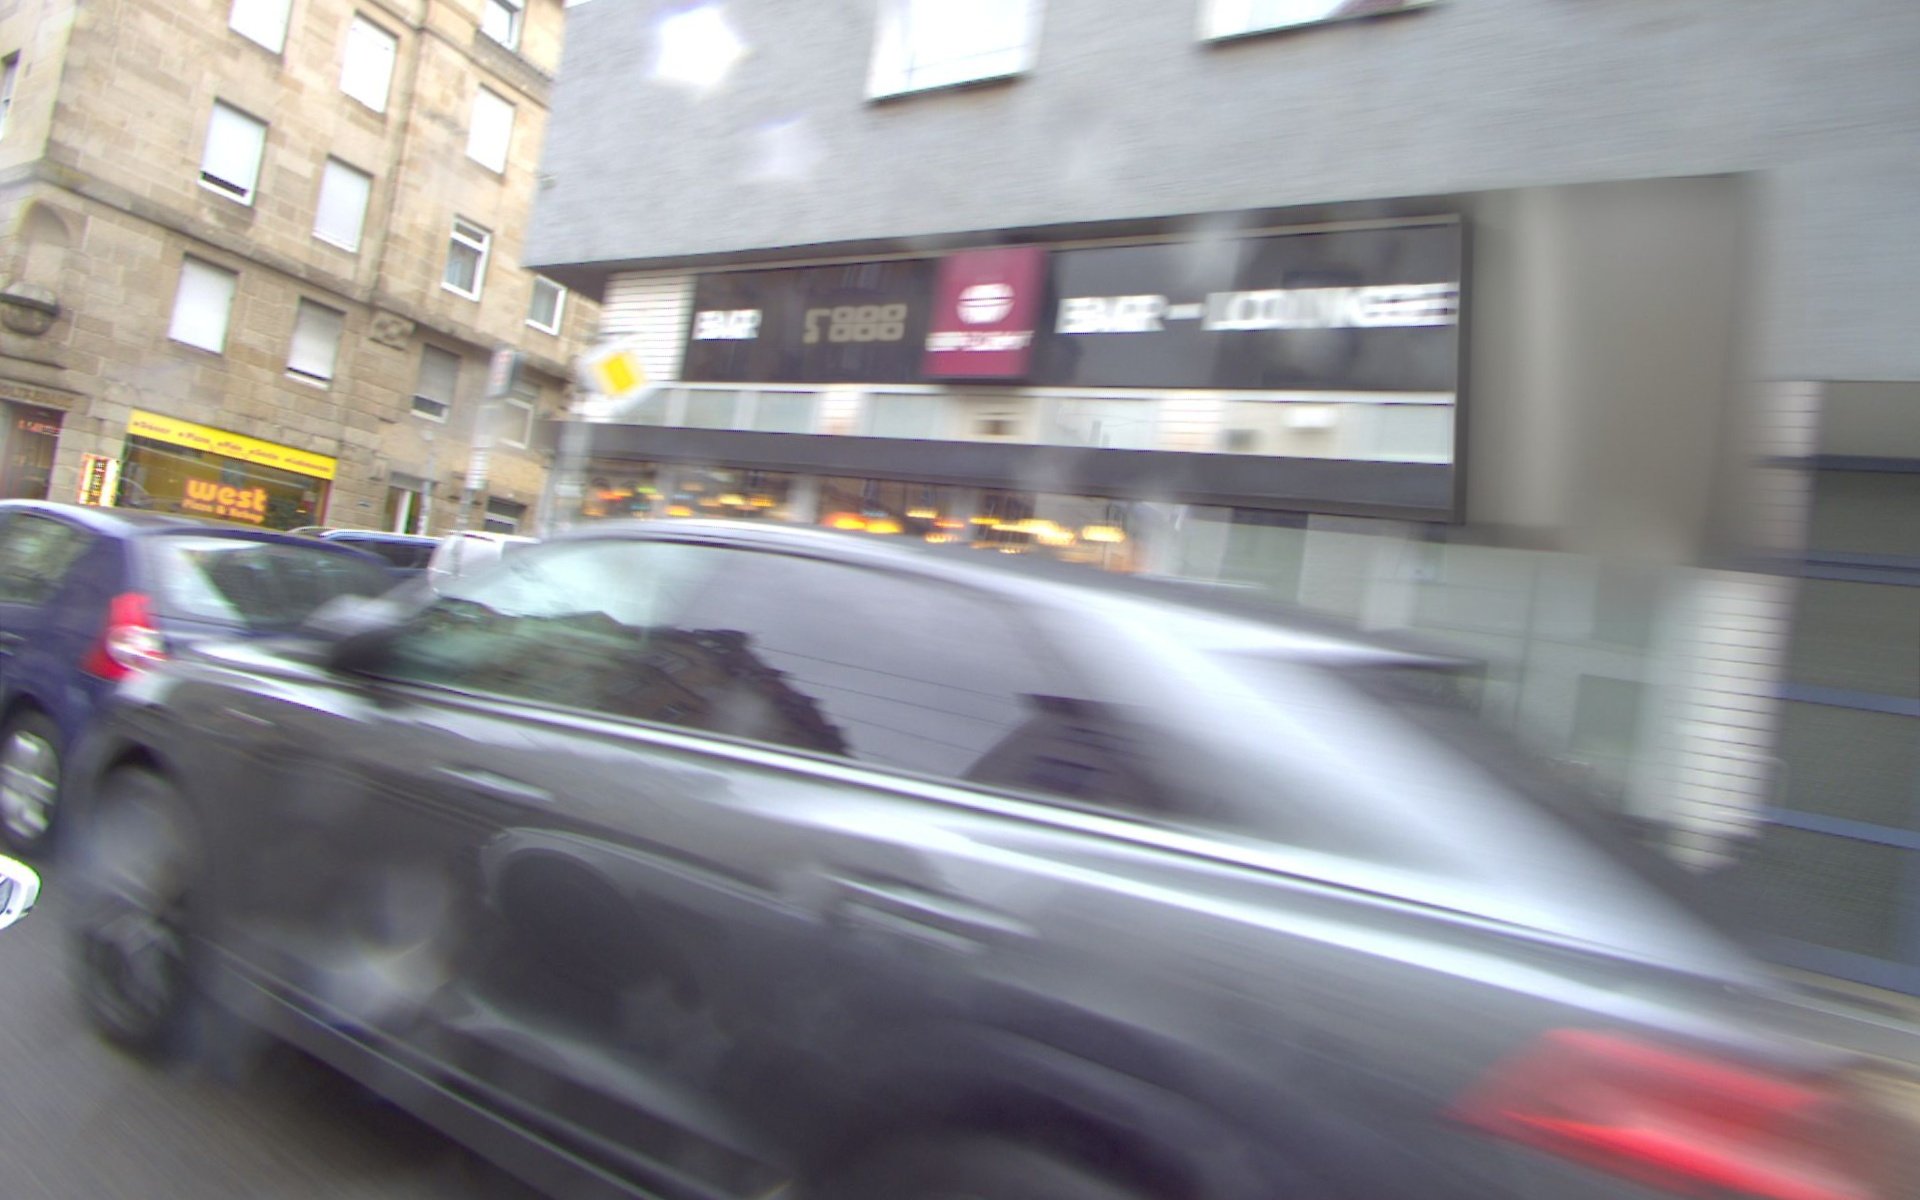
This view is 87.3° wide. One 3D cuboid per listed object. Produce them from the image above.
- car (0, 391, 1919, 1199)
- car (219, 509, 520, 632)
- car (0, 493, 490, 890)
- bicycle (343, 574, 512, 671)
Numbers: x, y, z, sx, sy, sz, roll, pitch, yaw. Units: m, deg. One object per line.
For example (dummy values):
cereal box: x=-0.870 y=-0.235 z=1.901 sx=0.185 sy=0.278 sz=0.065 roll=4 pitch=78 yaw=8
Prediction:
car: x=-0.641 y=0.565 z=2.849 sx=4.489 sy=1.780 sz=1.797 roll=7 pitch=-2 yaw=30
car: x=-11.719 y=-0.500 z=20.362 sx=1.966 sy=1.884 sz=4.785 roll=7 pitch=0 yaw=30
car: x=-4.715 y=0.253 z=5.565 sx=3.861 sy=1.500 sz=1.695 roll=7 pitch=-1 yaw=27
bicycle: x=-6.631 y=0.312 z=12.628 sx=0.524 sy=0.984 sz=1.753 roll=7 pitch=-3 yaw=32
